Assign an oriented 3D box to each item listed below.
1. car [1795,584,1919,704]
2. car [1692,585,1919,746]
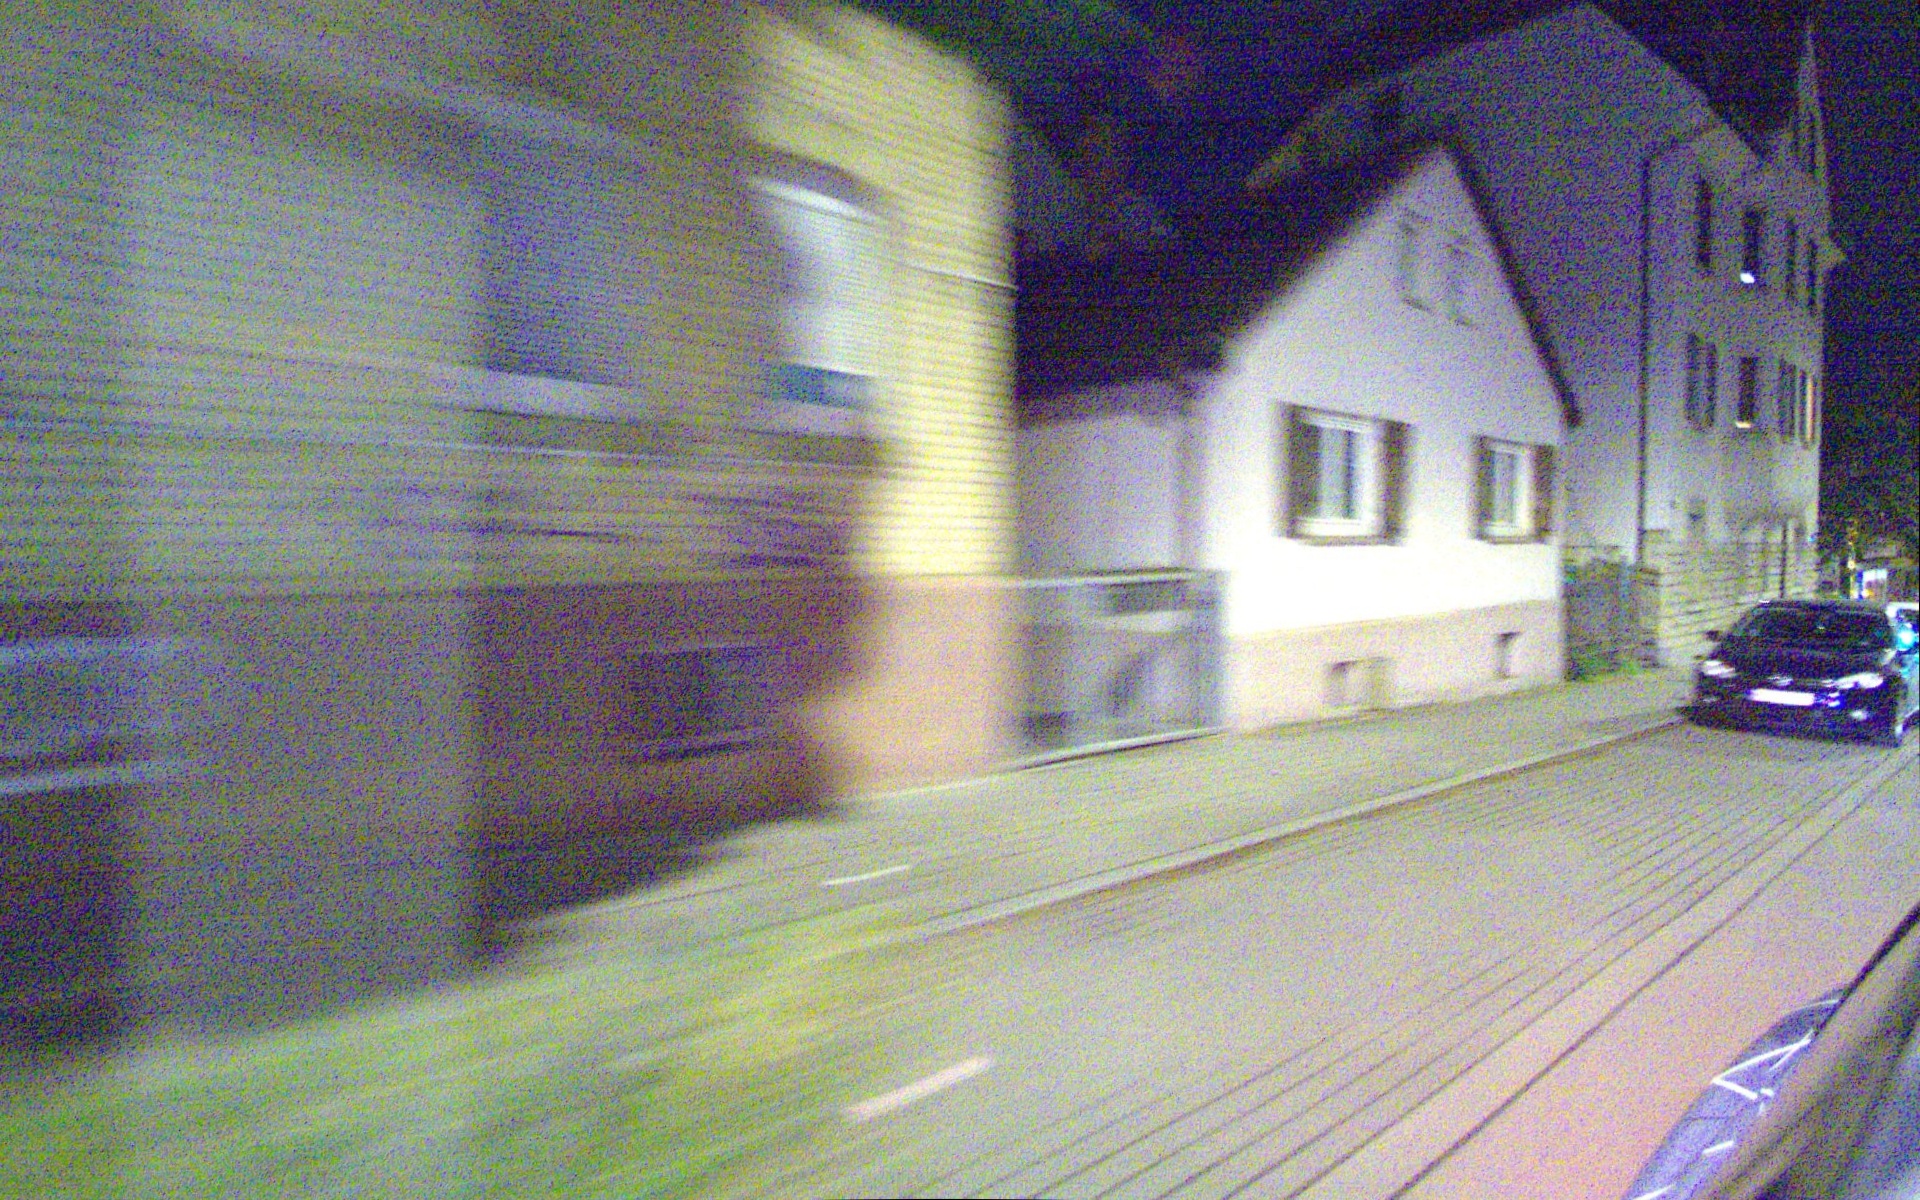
[{"bbox_3d":[14.066,0.572,15.010,4.566,1.434,1.849,-1,5,-42],"label":"car"},{"bbox_3d":[9.985,0.598,11.585,3.950,1.465,1.774,-1,3,-42],"label":"car"}]
